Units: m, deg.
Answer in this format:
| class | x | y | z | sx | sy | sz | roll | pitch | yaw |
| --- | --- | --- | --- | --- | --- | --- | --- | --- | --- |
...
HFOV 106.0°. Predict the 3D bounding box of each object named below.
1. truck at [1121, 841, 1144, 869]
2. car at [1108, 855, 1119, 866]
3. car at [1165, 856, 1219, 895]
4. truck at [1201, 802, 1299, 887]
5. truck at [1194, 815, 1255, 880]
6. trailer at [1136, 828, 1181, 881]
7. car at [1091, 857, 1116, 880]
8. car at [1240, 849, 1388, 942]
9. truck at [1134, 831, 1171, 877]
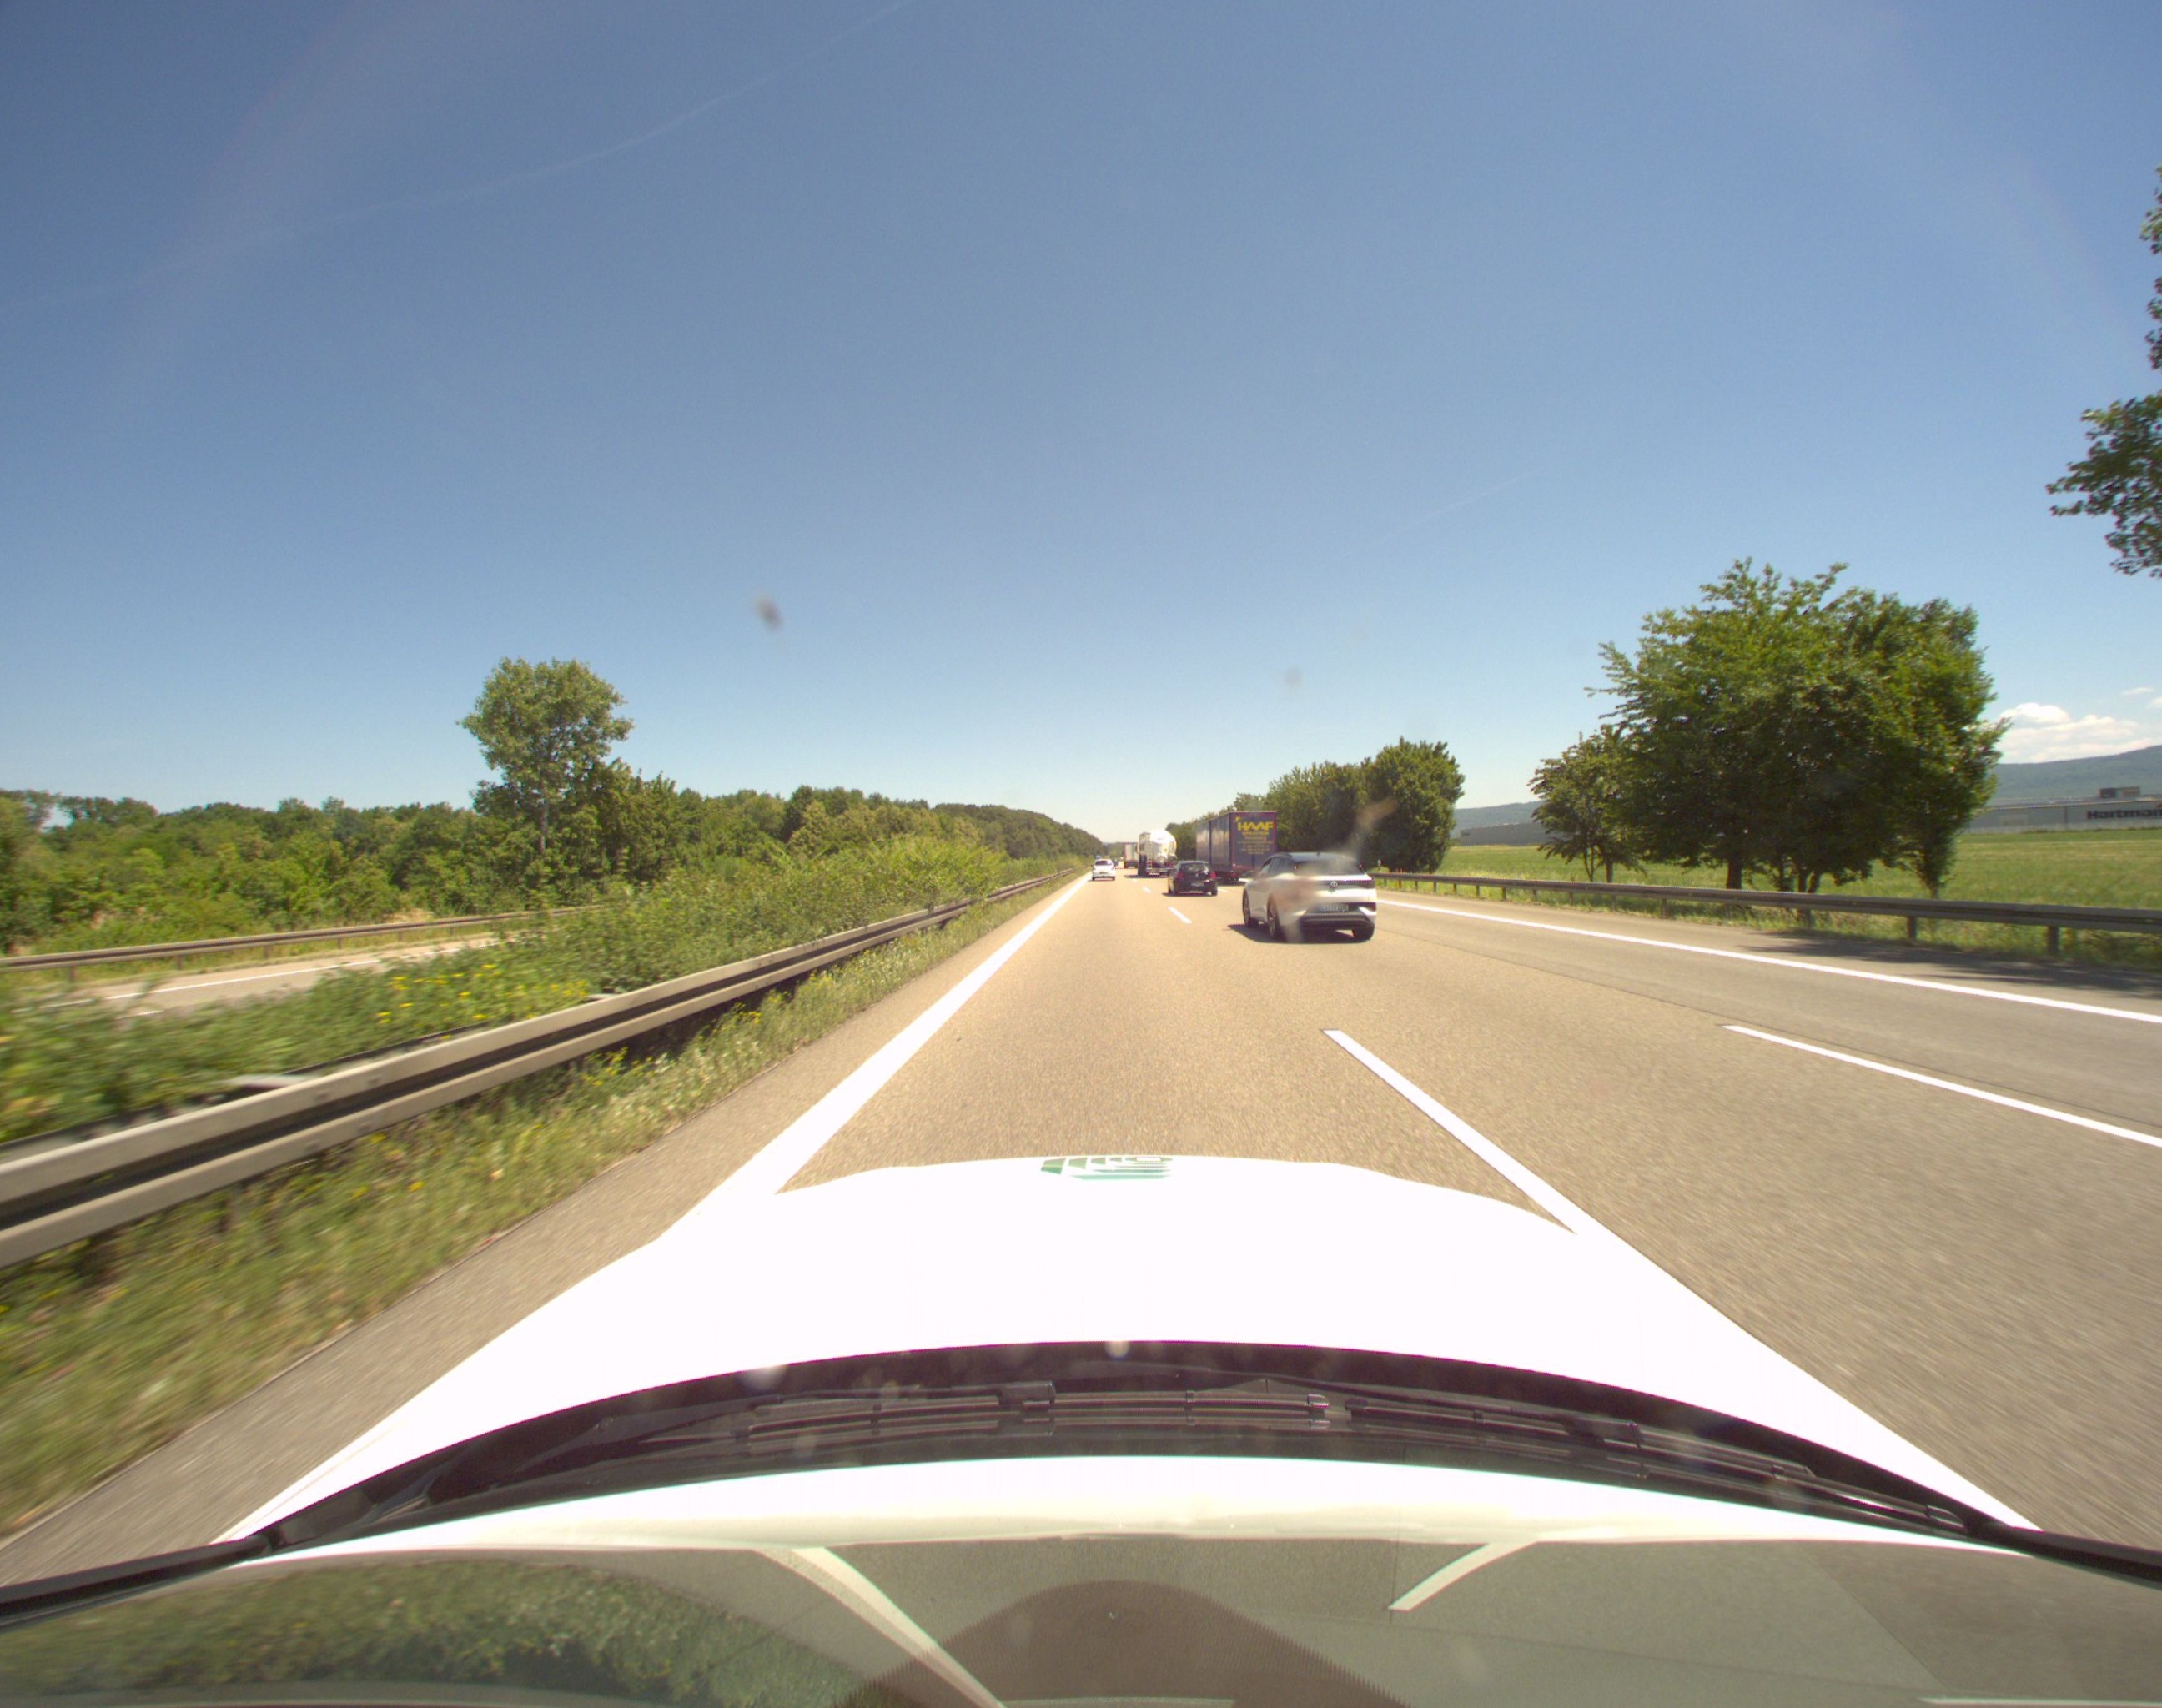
| class | x | y | z | sx | sy | sz | roll | pitch | yaw |
| --- | --- | --- | --- | --- | --- | --- | --- | --- | --- |
| truck | 8.253 | 0.161 | 130.826 | 3.381 | 4.214 | 12.089 | 0 | 0 | 2 |
| car | 7.266 | 1.507 | 184.630 | 2.465 | 2.354 | 5.184 | 0 | 0 | 2 |
| car | 4.540 | 0.844 | 33.865 | 1.843 | 1.523 | 3.959 | 0 | 0 | 2 |
| truck | 9.431 | -0.438 | 47.599 | 3.097 | 4.139 | 15.519 | 0 | 0 | 2 |
| truck | 9.776 | -0.419 | 56.217 | 3.097 | 4.139 | 8.060 | 0 | 0 | 2 |
| trailer | 6.431 | 0.033 | 69.418 | 2.901 | 4.069 | 12.420 | 0 | 0 | 1 |
| car | 1.596 | 1.031 | 58.922 | 1.793 | 1.552 | 3.610 | 0 | 0 | 1 |
| car | 4.428 | 0.717 | 16.192 | 1.796 | 1.603 | 4.382 | 0 | 0 | 1 |
| truck | 6.542 | 0.010 | 75.447 | 2.902 | 4.079 | 7.195 | 0 | 0 | 1 |
